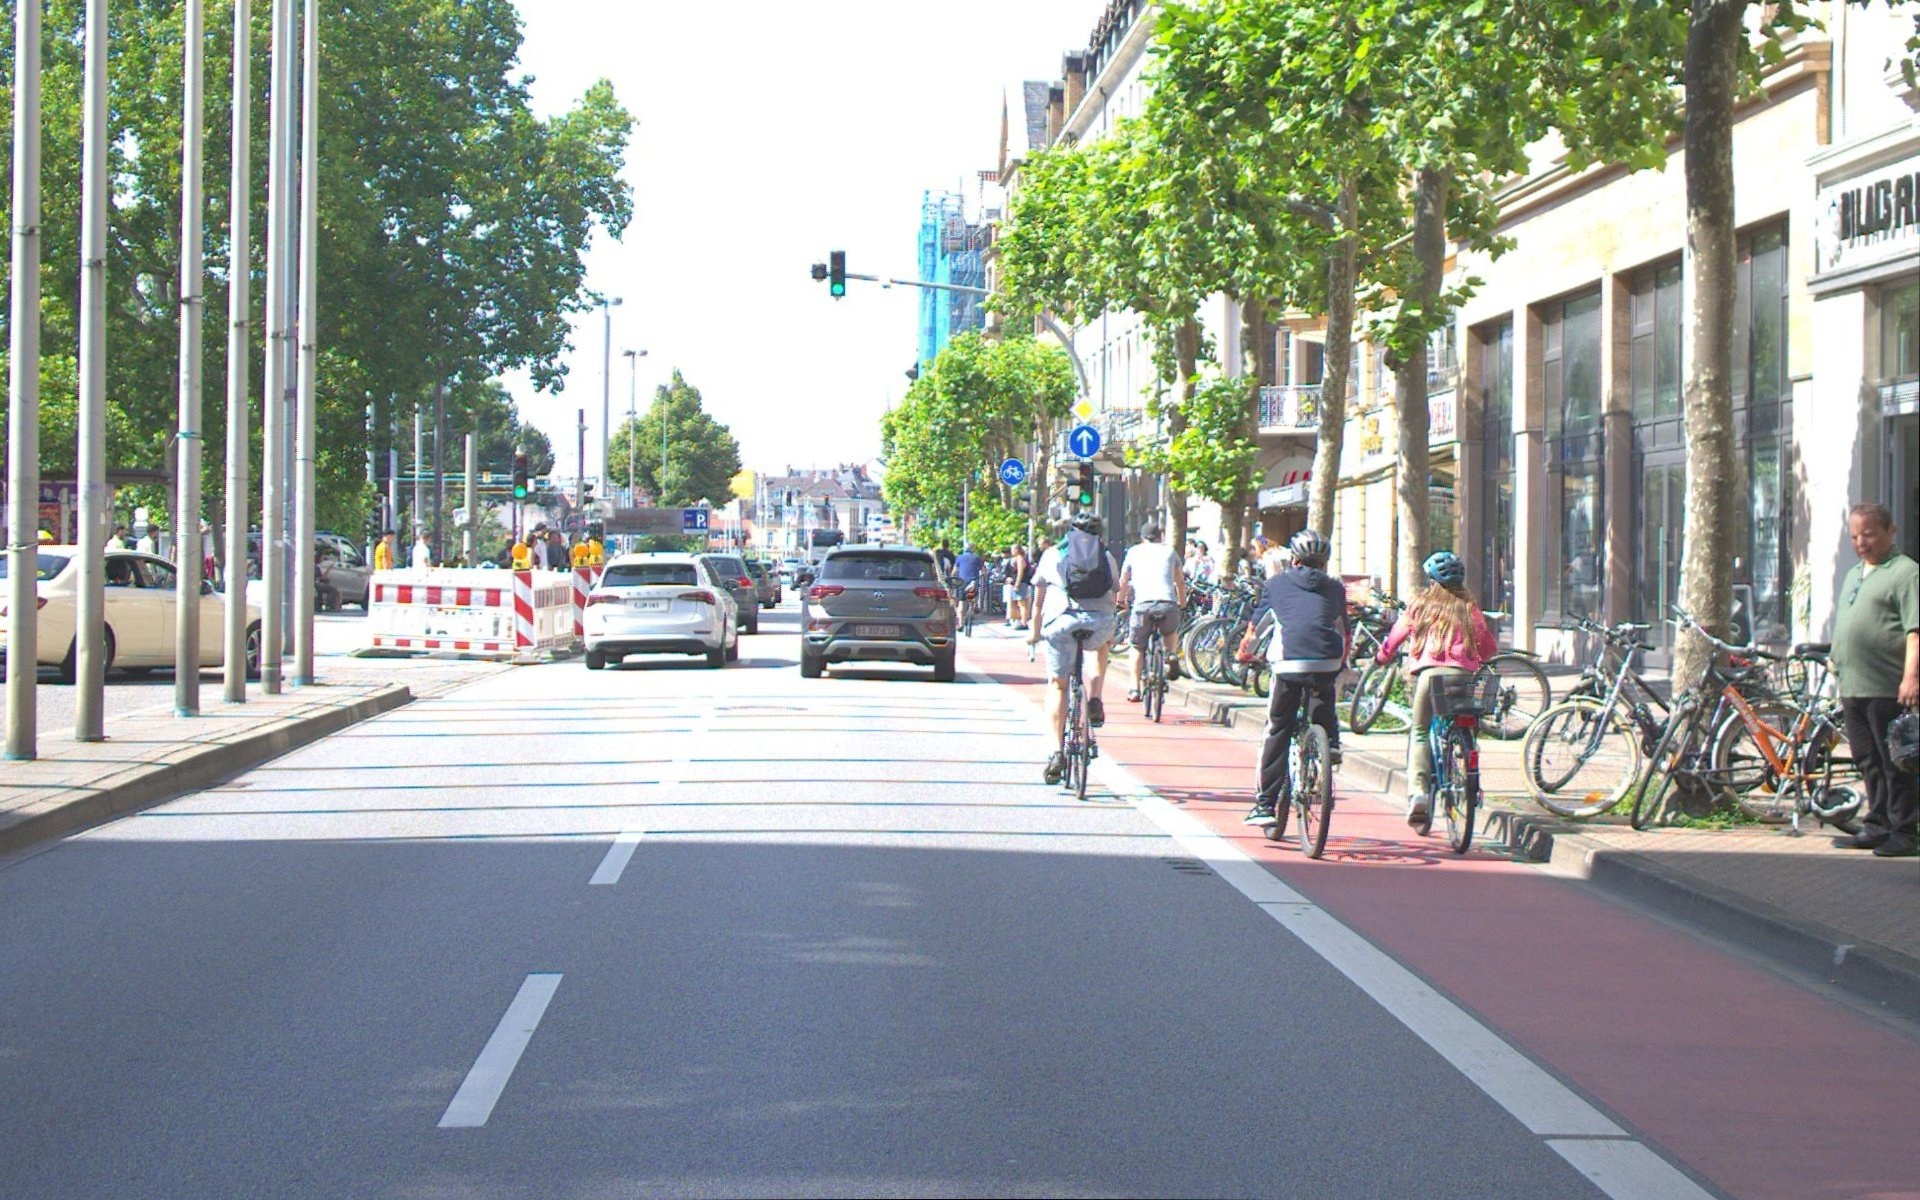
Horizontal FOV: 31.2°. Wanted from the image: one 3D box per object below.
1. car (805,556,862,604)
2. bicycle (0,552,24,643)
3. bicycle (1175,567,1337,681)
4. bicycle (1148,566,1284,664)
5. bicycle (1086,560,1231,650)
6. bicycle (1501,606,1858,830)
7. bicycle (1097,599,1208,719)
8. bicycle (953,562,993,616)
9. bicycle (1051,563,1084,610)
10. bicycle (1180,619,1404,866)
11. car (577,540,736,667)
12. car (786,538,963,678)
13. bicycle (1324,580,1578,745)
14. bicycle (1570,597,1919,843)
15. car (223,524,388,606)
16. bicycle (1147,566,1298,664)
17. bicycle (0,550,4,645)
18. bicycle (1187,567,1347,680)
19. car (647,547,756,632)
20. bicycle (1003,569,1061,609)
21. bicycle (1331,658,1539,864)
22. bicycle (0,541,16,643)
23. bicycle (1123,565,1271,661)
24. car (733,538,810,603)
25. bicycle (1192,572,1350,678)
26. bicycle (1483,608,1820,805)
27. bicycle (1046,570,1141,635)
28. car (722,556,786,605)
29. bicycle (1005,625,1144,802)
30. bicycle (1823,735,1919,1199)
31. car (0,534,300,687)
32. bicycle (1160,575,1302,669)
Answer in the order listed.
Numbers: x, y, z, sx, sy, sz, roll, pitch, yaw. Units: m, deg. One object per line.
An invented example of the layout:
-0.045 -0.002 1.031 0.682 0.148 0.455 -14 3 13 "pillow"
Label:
-4.696 -0.749 126.857 1.845 1.662 4.001 2 1 -5 "car"
-13.226 -0.049 45.000 1.781 1.181 0.663 1 1 -5 "bicycle"
3.256 0.257 37.879 1.728 1.213 0.477 1 1 0 "bicycle"
3.207 0.186 43.102 1.649 1.197 0.474 1 1 0 "bicycle"
2.845 0.077 49.232 1.932 1.253 0.705 1 1 -21 "bicycle"
3.908 0.630 18.775 1.840 1.123 0.497 2 0 9 "bicycle"
1.726 0.515 31.154 0.774 1.002 2.330 0 1 -2 "bicycle"
0.241 -0.215 65.125 0.647 0.994 2.031 0 1 -3 "bicycle"
2.598 -0.331 83.217 0.400 1.110 1.424 0 2 19 "bicycle"
1.662 0.690 17.548 0.698 1.123 2.082 2 1 -6 "bicycle"
-3.874 0.010 44.385 1.845 1.554 4.001 0 1 -2 "car"
-1.050 0.047 40.379 1.845 1.554 4.001 0 1 -5 "car"
3.779 0.472 26.538 1.840 1.182 0.670 2 0 3 "bicycle"
4.120 0.607 17.715 1.840 1.193 0.673 1 1 5 "bicycle"
-16.039 -0.832 84.482 1.861 1.948 4.756 1 0 19 "car"
3.317 0.184 43.520 1.844 1.197 0.474 1 1 0 "bicycle"
-13.136 -0.049 43.706 1.781 1.211 0.663 1 1 -5 "bicycle"
3.421 0.257 38.376 1.728 1.213 0.477 1 1 0 "bicycle"
-4.548 -0.206 60.968 1.845 1.444 4.001 0 1 -3 "car"
1.784 -0.287 85.626 1.420 0.976 0.401 0 1 -1 "bicycle"
2.462 0.815 18.049 0.600 0.922 2.088 1 1 -5 "bicycle"
-13.557 -0.148 45.712 1.781 1.343 0.741 2 1 -5 "bicycle"
3.045 0.166 44.317 1.844 1.197 0.545 1 1 0 "bicycle"
-4.683 -0.735 85.439 1.845 1.554 4.001 1 1 -3 "car"
3.510 0.281 38.865 1.728 1.158 0.477 1 1 0 "bicycle"
4.091 0.621 20.438 1.840 1.093 0.794 1 1 3 "bicycle"
2.303 0.040 59.588 0.600 1.078 1.839 -2 1 -37 "bicycle"
-6.182 -0.607 103.203 1.845 1.409 4.001 1 1 -3 "car"
0.673 0.664 20.851 0.630 0.976 2.089 1 0 -3 "bicycle"
2.580 0.918 7.394 0.698 1.123 2.082 2 1 -6 "bicycle"
-9.464 0.080 37.624 1.894 1.536 4.855 2 1 25 "car"
3.276 0.263 41.582 1.649 1.091 0.607 1 1 0 "bicycle"
